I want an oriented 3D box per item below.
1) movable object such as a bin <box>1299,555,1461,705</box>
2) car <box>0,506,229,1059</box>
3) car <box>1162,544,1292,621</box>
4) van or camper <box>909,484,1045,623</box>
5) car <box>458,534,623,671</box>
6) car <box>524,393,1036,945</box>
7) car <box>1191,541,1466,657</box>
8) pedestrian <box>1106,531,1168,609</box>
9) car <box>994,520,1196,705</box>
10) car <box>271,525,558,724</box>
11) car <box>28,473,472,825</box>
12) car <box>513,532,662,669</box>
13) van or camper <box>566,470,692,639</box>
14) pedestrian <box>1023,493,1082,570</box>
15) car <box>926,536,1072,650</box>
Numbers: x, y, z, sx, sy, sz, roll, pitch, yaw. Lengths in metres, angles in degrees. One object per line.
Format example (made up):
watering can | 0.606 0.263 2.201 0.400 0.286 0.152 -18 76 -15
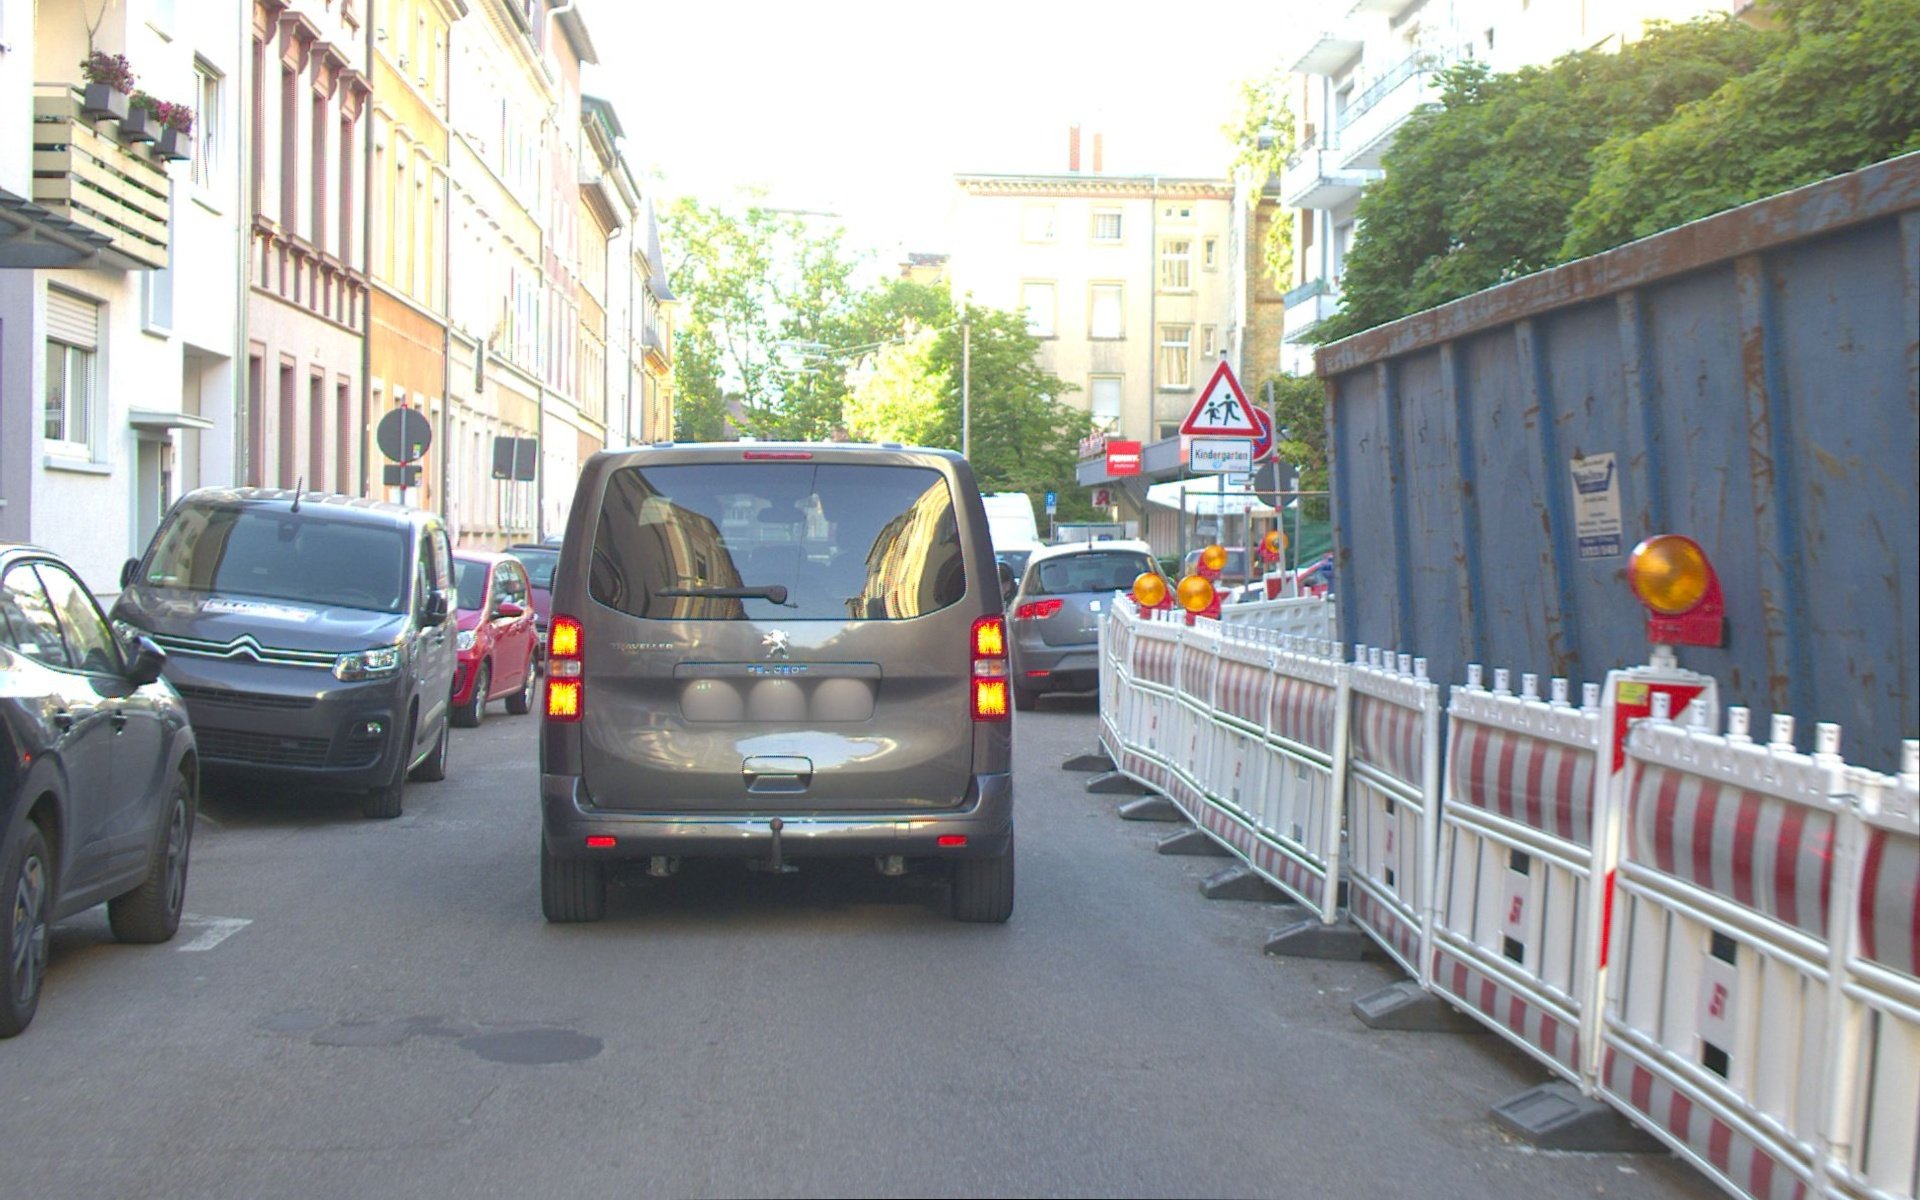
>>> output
movable object such as a bin | 4.024 0.286 32.921 1.250 1.371 0.802 2 1 -28
car | -3.729 0.465 11.849 1.740 1.594 4.015 1 1 -3
car | 5.064 -0.349 64.979 1.601 1.411 3.225 1 1 21
van or camper | 0.259 -0.928 67.755 2.099 2.593 7.514 0 1 -4
car | -4.938 0.000 40.791 1.657 1.443 3.286 4 1 -4
car | -0.773 0.210 14.662 1.857 2.007 4.001 -1 1 -3
car | 5.620 -0.023 52.704 3.895 1.602 1.695 2 1 -3
pedestrian | 3.955 -0.671 76.783 0.932 1.714 1.063 -1 1 -36
car | 1.282 0.076 34.430 1.749 1.677 4.526 2 1 -1
car | -4.727 0.174 30.257 1.669 1.480 3.605 6 1 2
car | -4.156 0.223 20.854 1.993 1.852 4.585 1 1 -4
car | -4.922 -0.029 45.837 1.711 1.638 3.980 4 1 -4
van or camper | -5.447 -0.772 57.233 1.949 2.640 7.142 0 1 -5
pedestrian | 1.878 -1.400 70.078 0.870 1.550 0.876 -2 2 -24
car | 0.538 -0.128 51.659 1.722 1.606 4.589 1 1 -5
